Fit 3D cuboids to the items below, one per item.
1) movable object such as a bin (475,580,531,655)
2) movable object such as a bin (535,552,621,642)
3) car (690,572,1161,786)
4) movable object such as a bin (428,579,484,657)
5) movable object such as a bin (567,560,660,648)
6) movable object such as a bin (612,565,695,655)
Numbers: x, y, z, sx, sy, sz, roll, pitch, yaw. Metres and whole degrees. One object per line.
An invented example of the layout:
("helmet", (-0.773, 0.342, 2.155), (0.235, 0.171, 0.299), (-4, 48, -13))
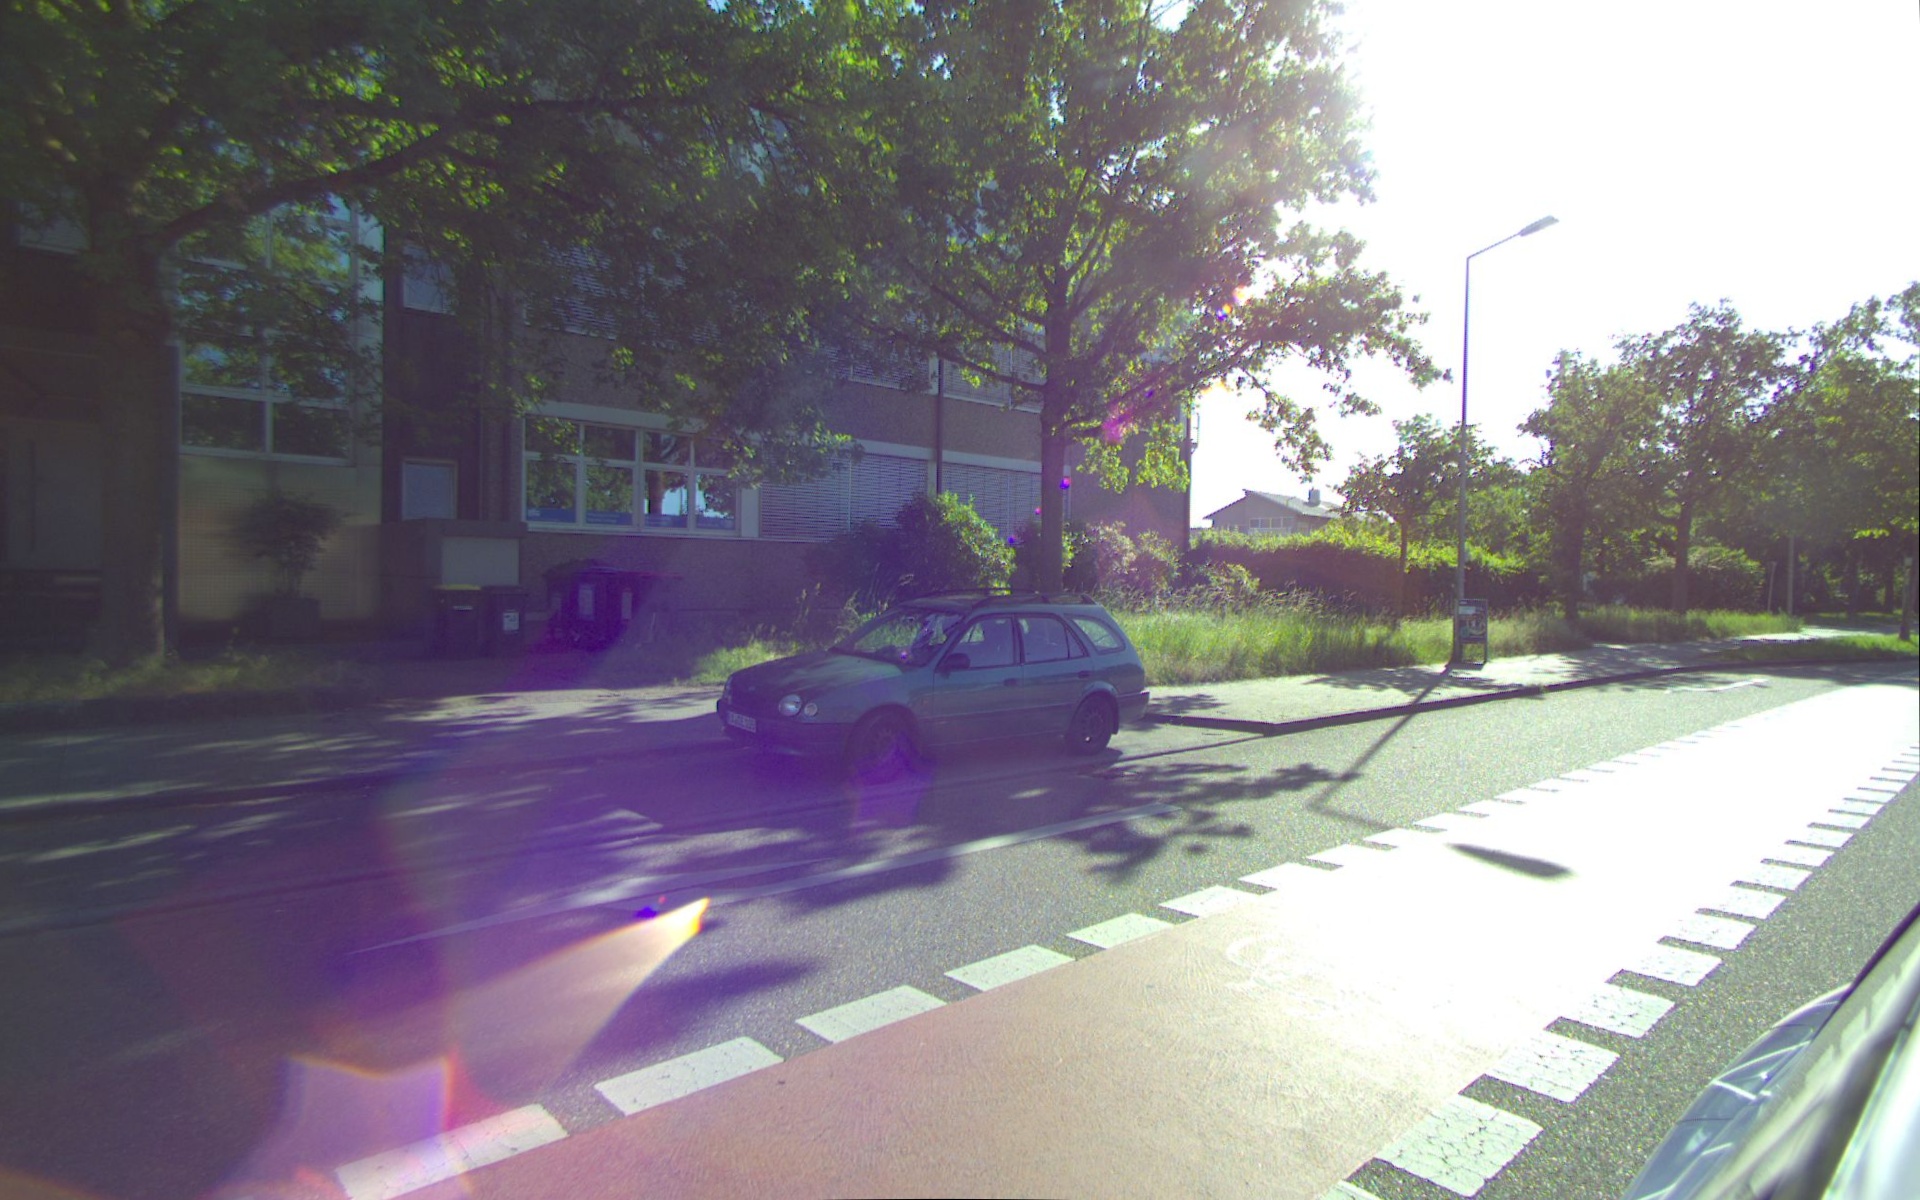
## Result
("movable object such as a bin", (-6.761, 0.238, 14.973), (0.604, 1.075, 0.634), (0, 1, -42))
("movable object such as a bin", (-6.782, -0.076, 17.937), (1.024, 1.501, 1.309), (0, 2, -41))
("car", (-0.148, 0.574, 9.128), (4.068, 1.487, 1.705), (1, 1, -41))
("movable object such as a bin", (-7.217, 0.243, 14.493), (0.575, 1.070, 0.625), (0, 1, -42))
("movable object such as a bin", (-5.773, 0.041, 16.856), (1.070, 1.388, 1.186), (0, 2, -43))
("movable object such as a bin", (-4.783, 0.123, 15.769), (0.878, 1.323, 1.186), (0, 2, -37))
